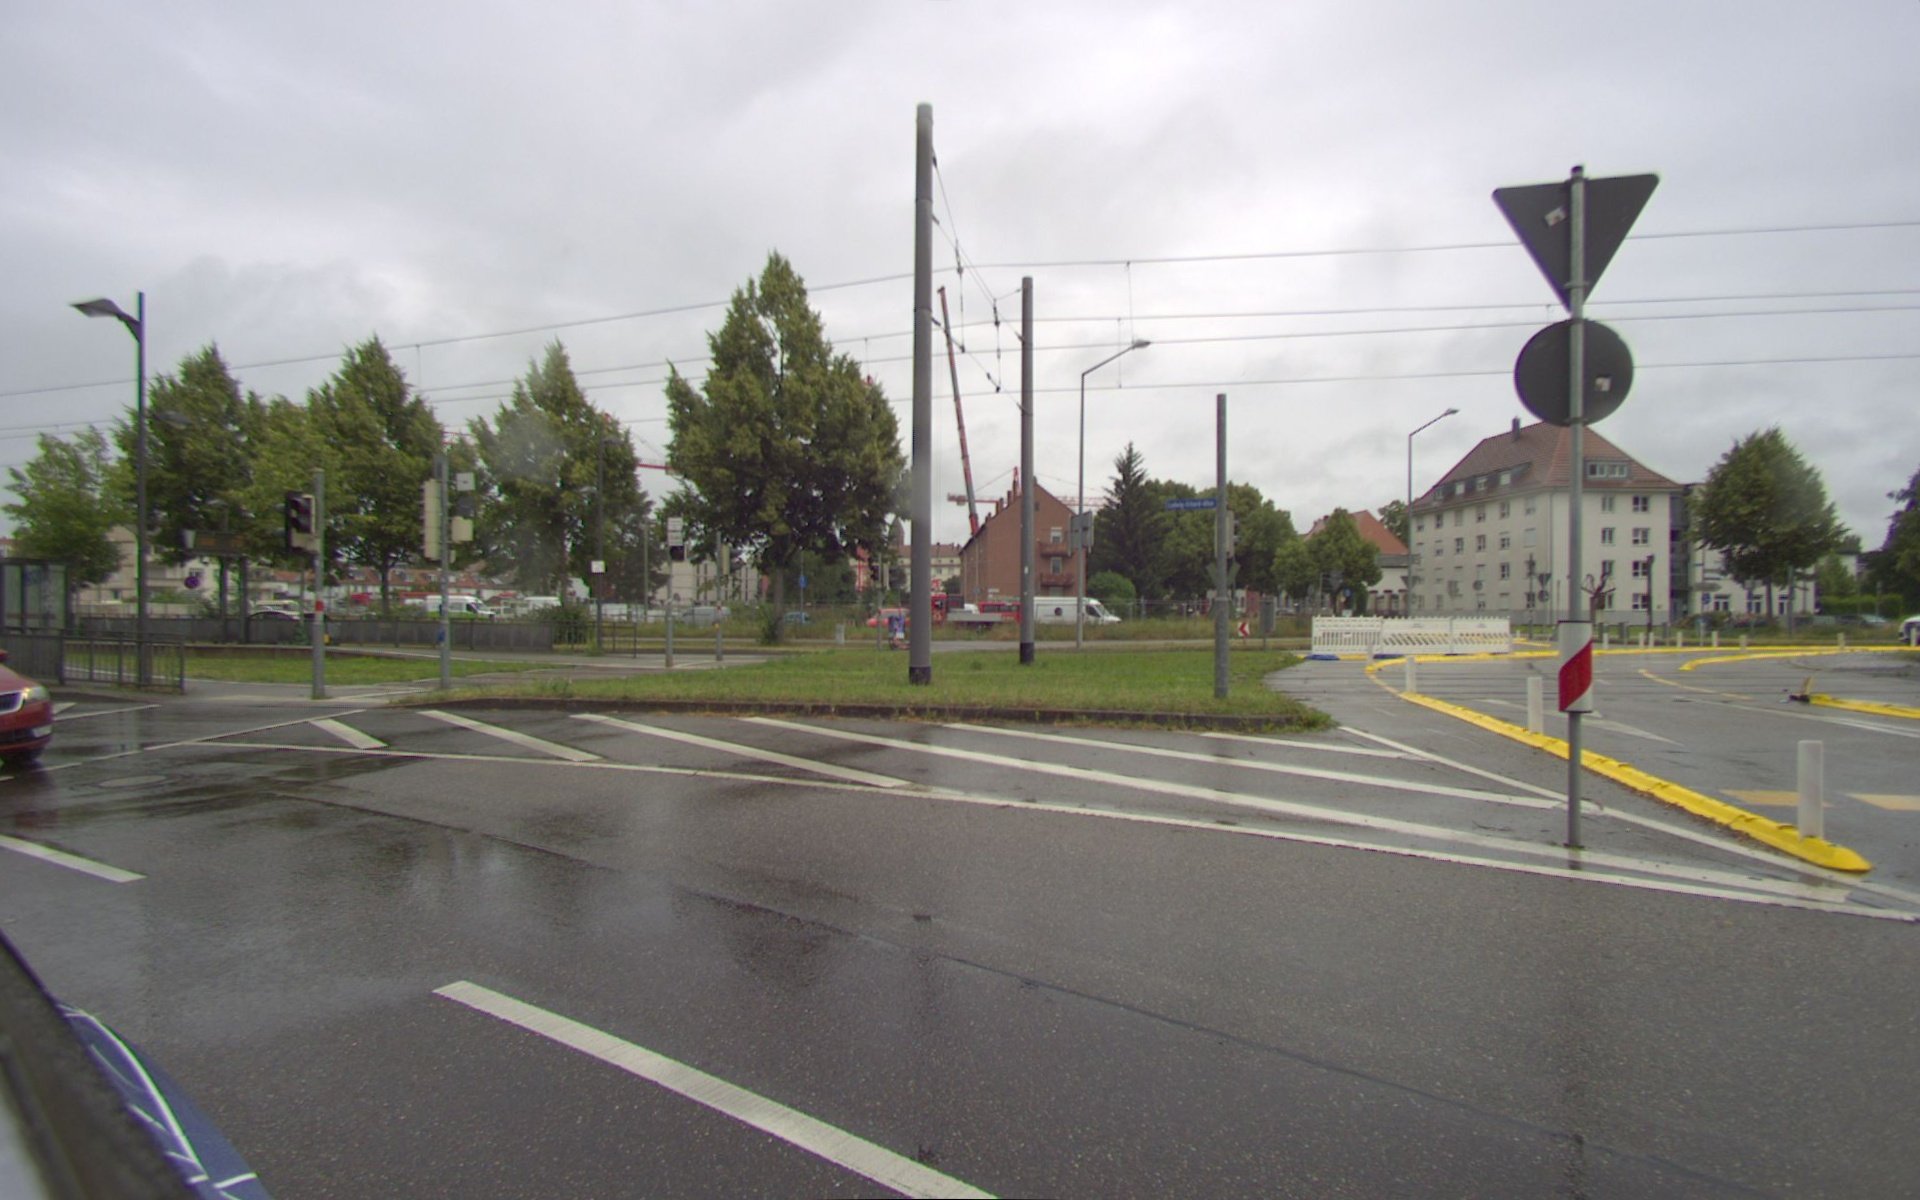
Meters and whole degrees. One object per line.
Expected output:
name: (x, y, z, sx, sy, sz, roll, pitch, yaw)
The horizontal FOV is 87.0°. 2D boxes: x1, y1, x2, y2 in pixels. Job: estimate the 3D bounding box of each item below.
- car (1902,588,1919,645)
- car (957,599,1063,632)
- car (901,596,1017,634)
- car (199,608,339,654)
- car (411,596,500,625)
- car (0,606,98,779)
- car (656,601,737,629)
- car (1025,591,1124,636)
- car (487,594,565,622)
car: (32.388, 0.501, 31.450, 4.791, 1.757, 1.780, -1, 2, -5)
car: (3.155, 0.990, 64.432, 6.400, 2.029, 2.334, -1, -1, 29)
car: (-0.070, 0.812, 58.261, 6.400, 2.028, 2.334, 0, 2, 29)
car: (-24.368, 1.059, 35.720, 4.187, 1.497, 1.843, 0, 2, 16)
car: (-45.647, 0.946, 91.607, 7.566, 2.495, 2.346, 0, 2, 15)
car: (-10.376, 0.818, 9.371, 4.283, 1.470, 1.777, 0, 2, 20)
car: (-24.069, 1.337, 92.576, 6.749, 2.495, 2.353, 0, -1, 5)
car: (7.861, 0.867, 69.718, 6.400, 2.961, 2.334, 0, 2, 29)
car: (-41.570, 0.744, 97.040, 6.771, 2.495, 2.490, 0, 2, 15)
